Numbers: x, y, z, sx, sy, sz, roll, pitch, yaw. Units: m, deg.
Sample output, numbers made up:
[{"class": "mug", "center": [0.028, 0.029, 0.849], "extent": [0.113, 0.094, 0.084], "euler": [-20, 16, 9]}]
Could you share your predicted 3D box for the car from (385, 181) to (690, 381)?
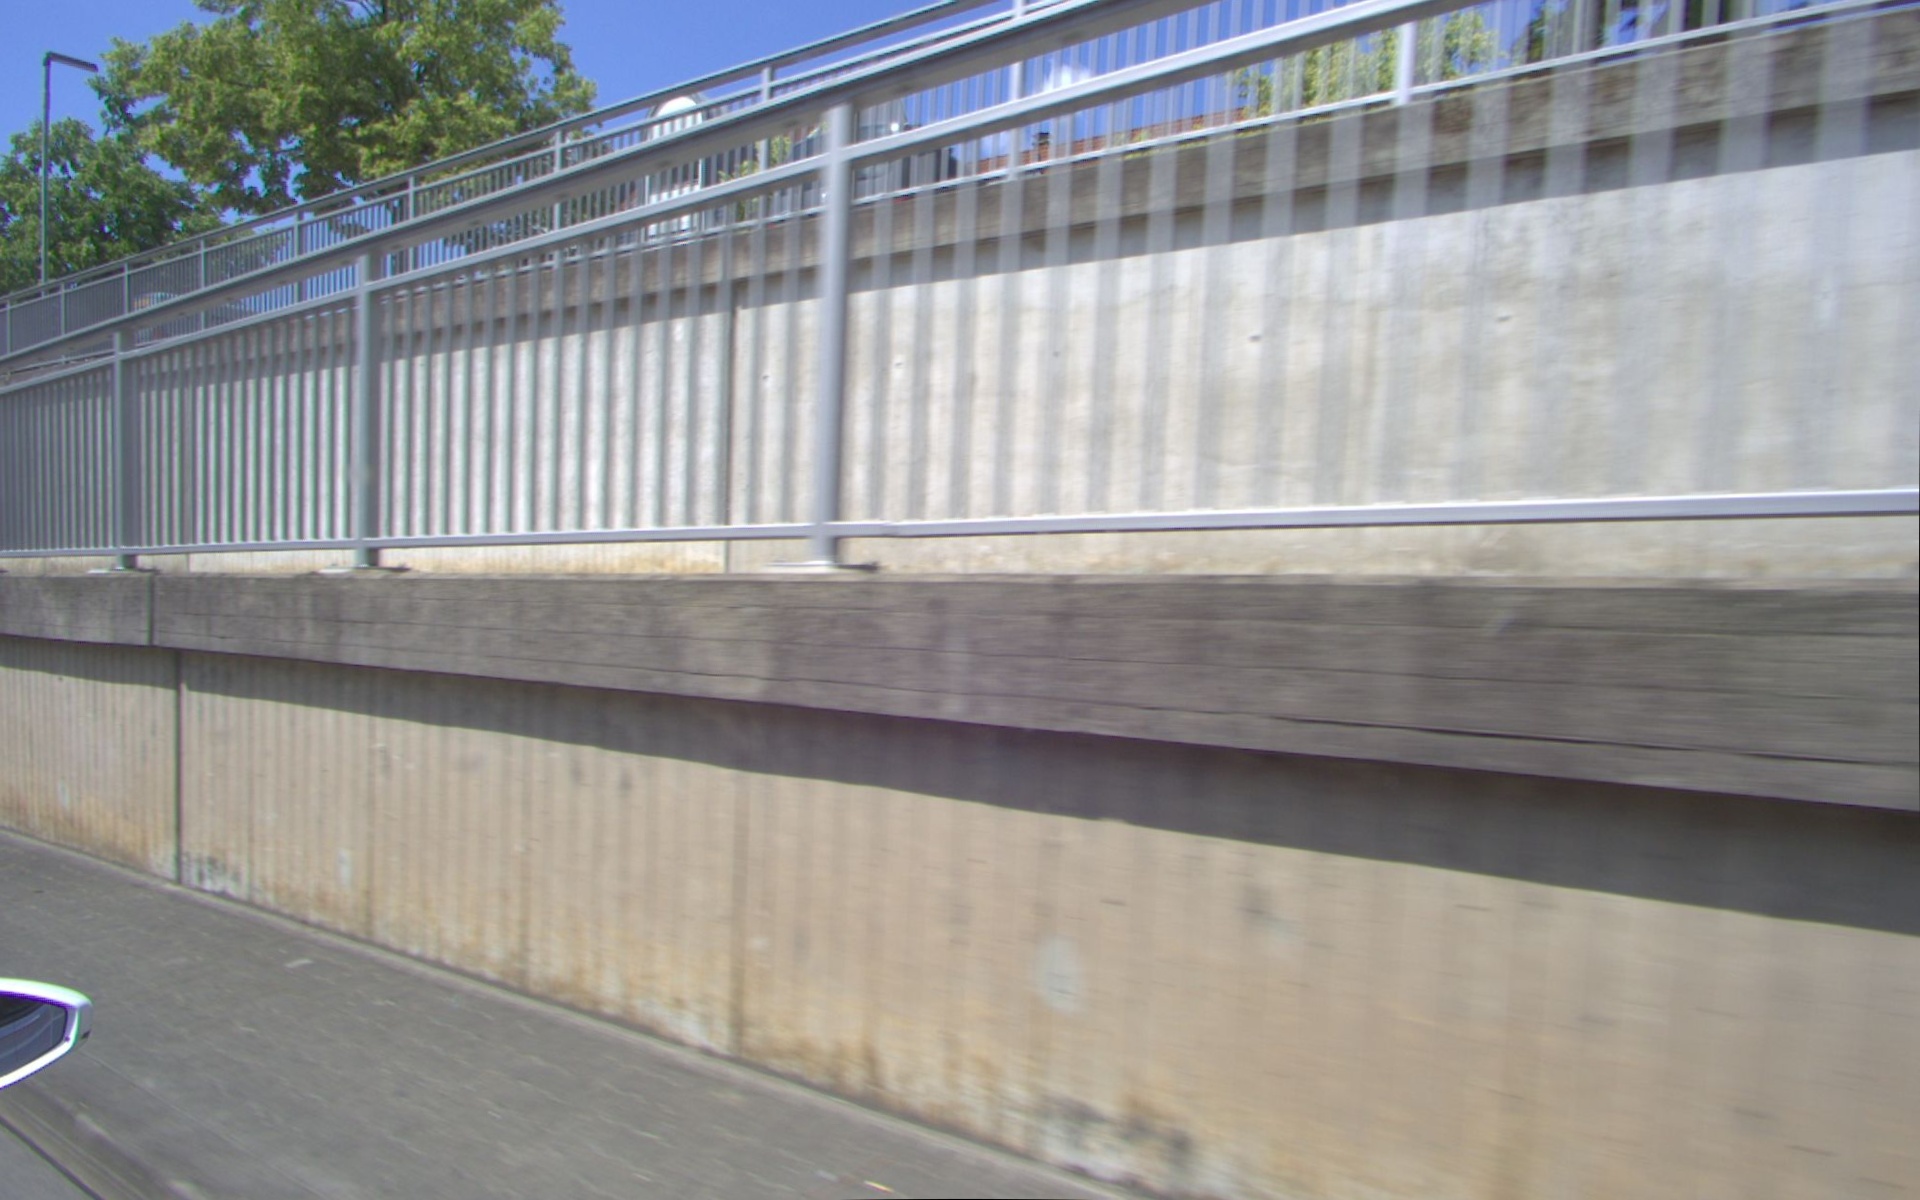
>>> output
[{"class": "car", "center": [-6.248, -4.631, 15.210], "extent": [1.746, 1.587, 3.976], "euler": [0, -1, 35]}]

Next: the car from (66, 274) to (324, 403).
[{"class": "car", "center": [-15.892, -5.342, 20.994], "extent": [1.746, 1.505, 3.976], "euler": [0, -1, 35]}]

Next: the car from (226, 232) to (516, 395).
[{"class": "car", "center": [-9.993, -4.773, 17.277], "extent": [1.746, 1.505, 3.976], "euler": [0, -1, 35]}]

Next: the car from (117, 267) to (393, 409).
[{"class": "car", "center": [-13.308, -4.851, 19.118], "extent": [1.746, 1.505, 3.976], "euler": [0, -1, 35]}]

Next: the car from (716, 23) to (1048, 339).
[{"class": "car", "center": [-0.719, -4.527, 11.624], "extent": [1.746, 1.793, 3.976], "euler": [0, -1, 35]}]
